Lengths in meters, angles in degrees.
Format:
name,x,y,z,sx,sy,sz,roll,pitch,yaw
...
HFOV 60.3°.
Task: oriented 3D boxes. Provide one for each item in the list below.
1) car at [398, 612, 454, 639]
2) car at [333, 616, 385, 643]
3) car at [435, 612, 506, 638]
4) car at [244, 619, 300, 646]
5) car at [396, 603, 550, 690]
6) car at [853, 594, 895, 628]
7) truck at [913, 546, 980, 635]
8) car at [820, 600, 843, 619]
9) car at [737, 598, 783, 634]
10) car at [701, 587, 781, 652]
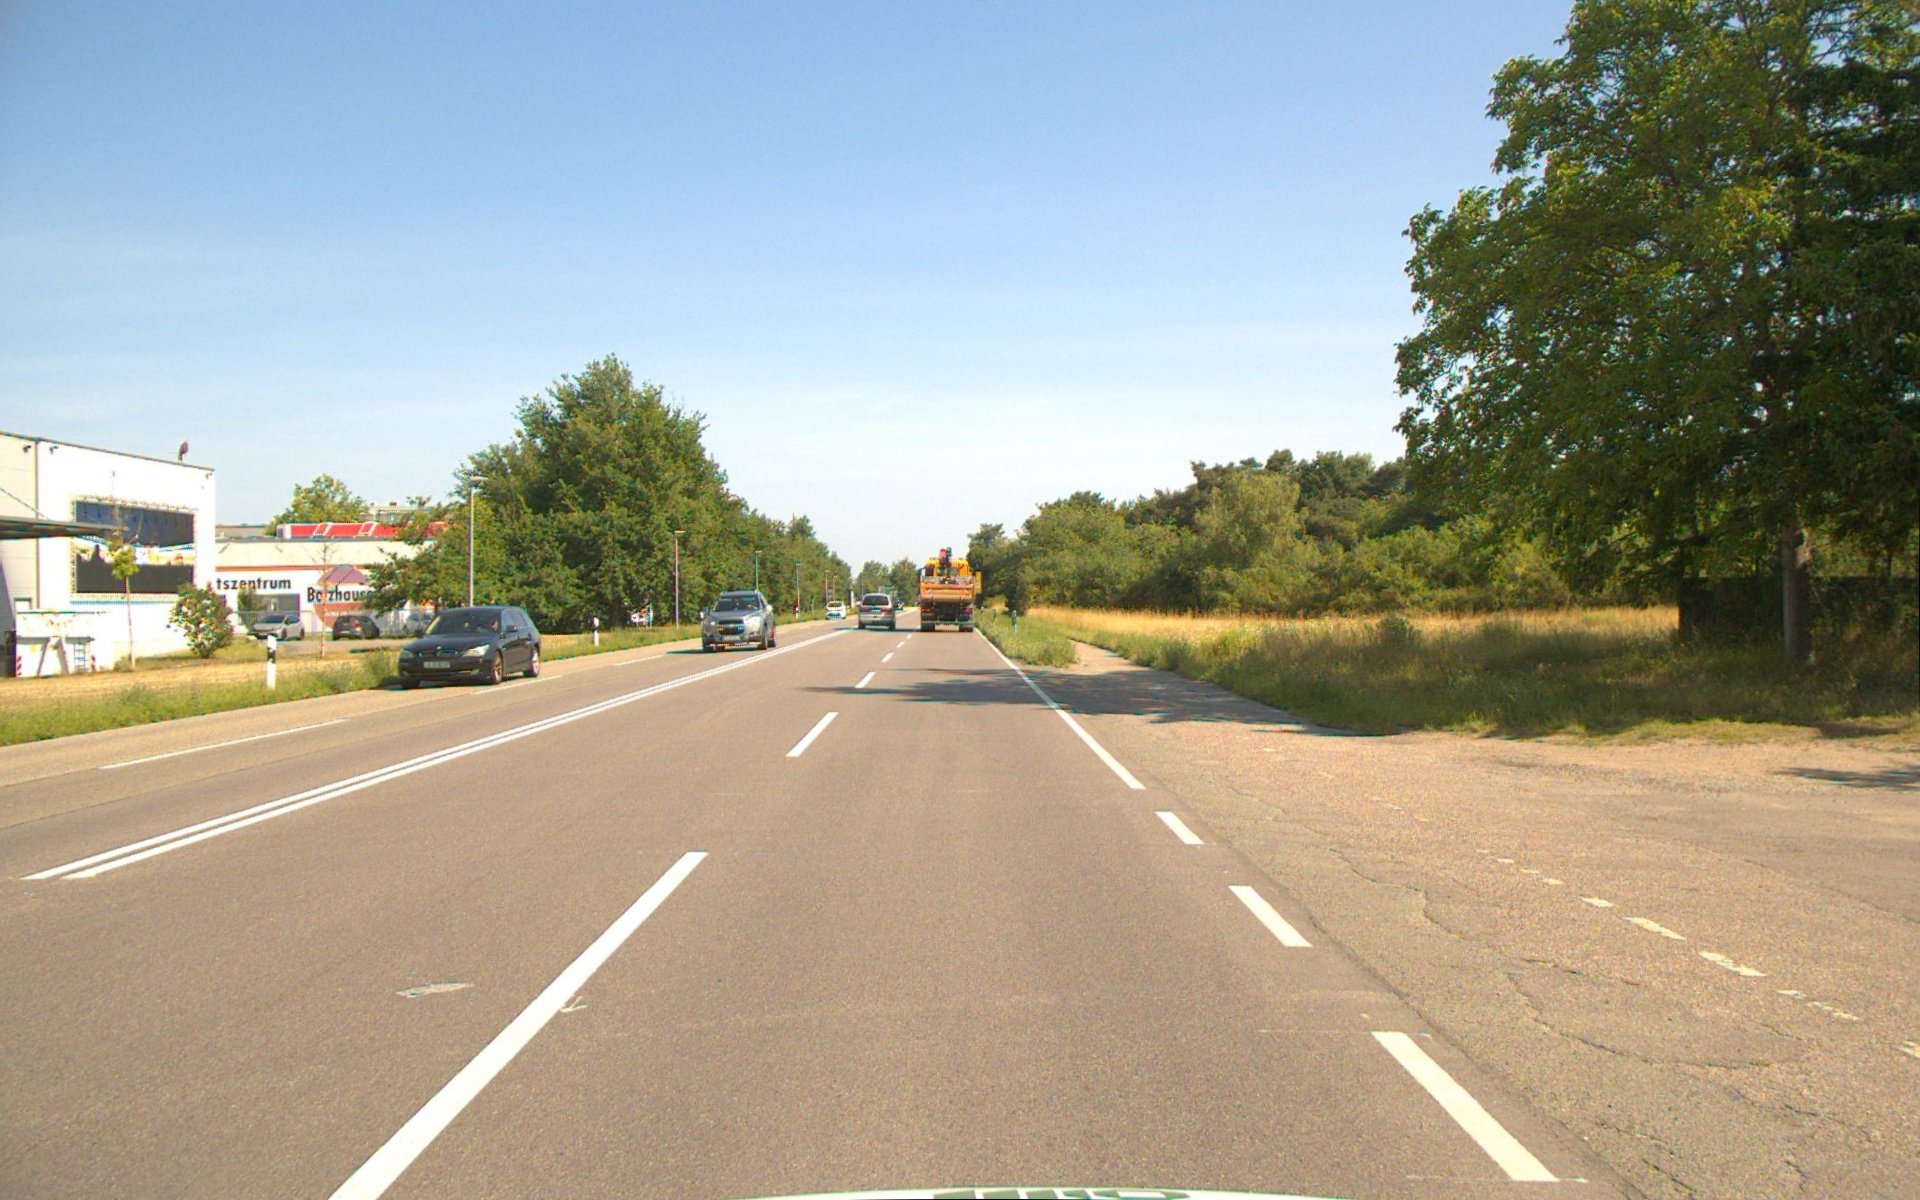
name,x,y,z,sx,sy,sz,roll,pitch,yaw
car,-32.536,1.563,100.760,1.727,1.527,3.935,-1,0,-44
car,-33.910,1.652,93.379,1.603,1.414,3.722,-1,0,-1
car,-30.764,1.548,103.997,3.906,1.527,1.757,-1,0,-1
car,-38.701,1.799,93.110,1.603,1.435,3.722,-1,0,-1
car,-9.423,0.848,32.396,1.619,1.506,4.739,-3,0,-1
car,-4.152,0.524,80.188,1.953,1.611,3.999,0,0,-2
truck,-0.718,-0.413,78.005,2.814,3.948,7.395,1,0,-3
car,-10.716,0.808,138.478,1.625,1.462,3.735,-3,0,-1
car,-9.500,0.742,78.639,1.694,1.588,4.214,1,0,-1
car,-6.388,0.552,48.694,1.736,1.744,4.568,-3,0,-1
